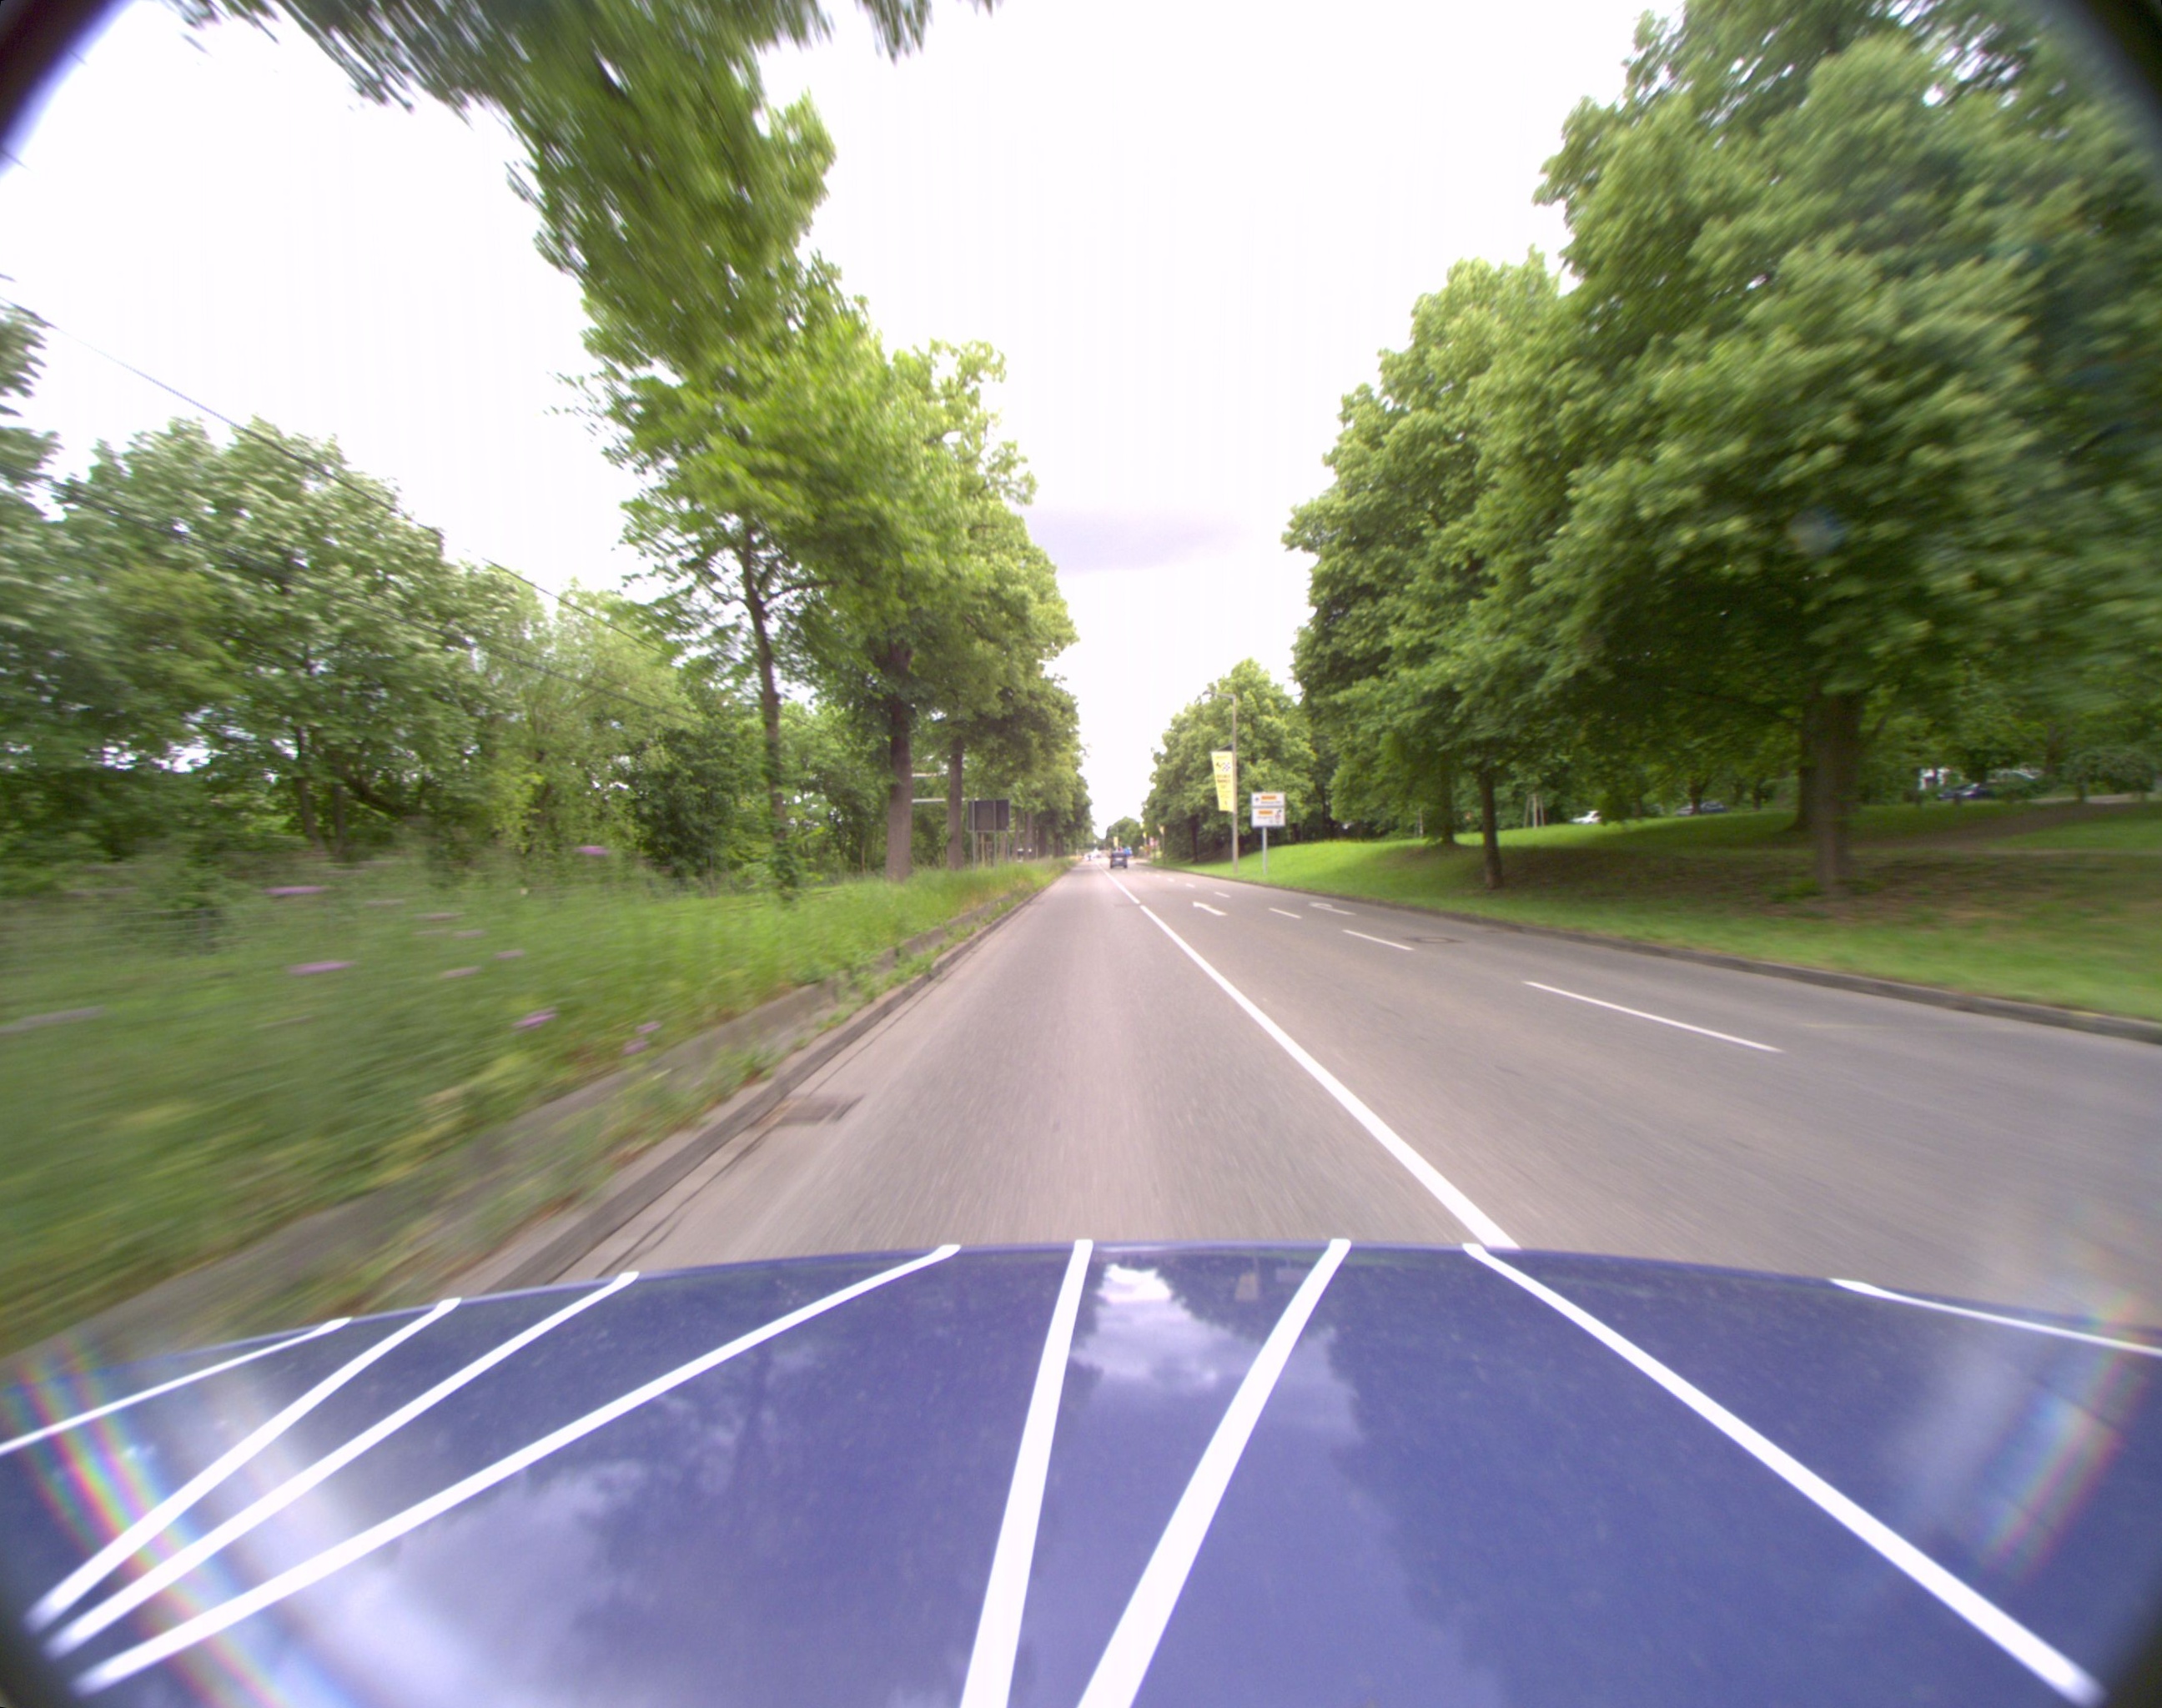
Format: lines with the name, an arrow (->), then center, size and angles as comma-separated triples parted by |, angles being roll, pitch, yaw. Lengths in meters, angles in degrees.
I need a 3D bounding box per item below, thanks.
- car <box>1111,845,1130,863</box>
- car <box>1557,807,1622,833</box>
car -> 4.511, -0.050, 86.811 | 1.998, 1.944, 5.183 | -1, 1, 1
car -> 42.009, -2.787, 62.775 | 4.910, 1.884, 2.316 | -3, 1, -26
